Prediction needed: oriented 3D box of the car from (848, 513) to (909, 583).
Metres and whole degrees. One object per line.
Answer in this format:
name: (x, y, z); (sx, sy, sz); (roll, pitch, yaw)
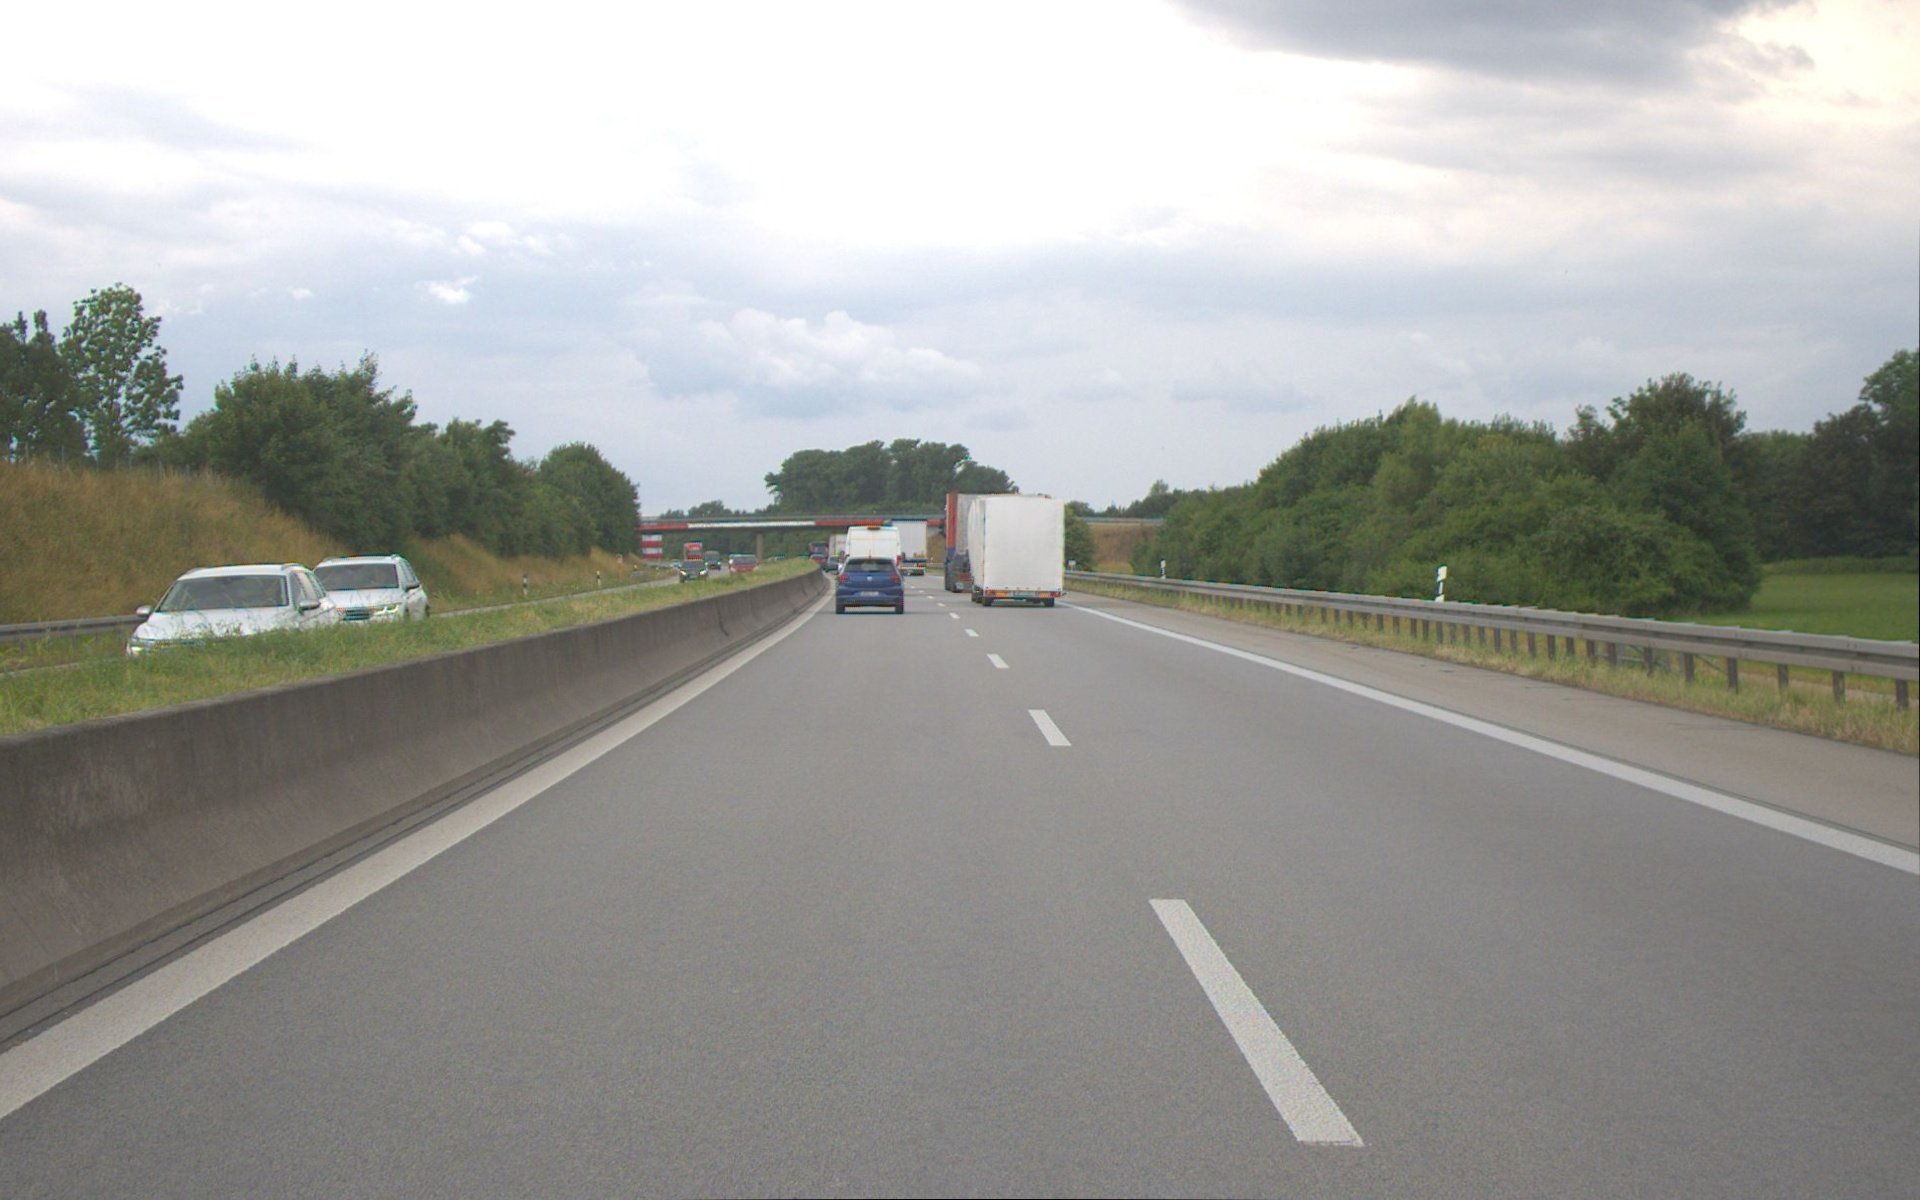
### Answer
car: (-2.993, -1.877, 124.808); (2.130, 2.474, 5.840); (-1, 1, -2)

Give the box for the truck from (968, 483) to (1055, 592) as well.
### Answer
truck: (1.551, -1.889, 105.803); (2.429, 3.232, 7.247); (0, 1, -1)

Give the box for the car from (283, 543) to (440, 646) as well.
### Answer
car: (-9.801, -0.127, 56.598); (1.865, 1.569, 4.694); (-2, 1, -2)

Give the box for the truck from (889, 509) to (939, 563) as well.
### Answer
truck: (-3.358, -4.565, 247.829); (3.110, 3.677, 9.324); (-3, 1, -3)

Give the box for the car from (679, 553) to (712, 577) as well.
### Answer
car: (-17.410, -2.323, 226.683); (1.845, 1.492, 4.580); (-3, 1, -1)

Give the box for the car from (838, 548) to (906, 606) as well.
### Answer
car: (-2.206, -0.593, 86.274); (1.663, 1.402, 3.649); (0, 1, -1)

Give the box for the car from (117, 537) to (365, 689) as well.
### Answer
car: (-8.170, 0.095, 39.512); (1.865, 1.569, 4.990); (-2, 1, -1)

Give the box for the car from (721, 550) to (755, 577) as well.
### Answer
car: (-13.630, -2.275, 211.056); (1.845, 1.566, 4.361); (-2, 1, -2)

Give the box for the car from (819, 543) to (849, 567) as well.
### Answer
car: (-8.857, -3.165, 241.466); (1.993, 1.678, 4.001); (0, 1, -4)

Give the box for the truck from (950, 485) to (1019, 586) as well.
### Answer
truck: (0.963, -2.640, 140.928); (2.673, 4.032, 5.513); (-1, 1, -1)

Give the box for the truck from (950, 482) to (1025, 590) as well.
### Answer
truck: (1.035, -2.527, 135.558); (2.673, 4.032, 11.108); (-1, 1, -1)

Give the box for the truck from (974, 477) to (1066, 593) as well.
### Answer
truck: (1.677, -1.829, 98.612); (2.415, 3.211, 7.144); (0, 1, -1)
